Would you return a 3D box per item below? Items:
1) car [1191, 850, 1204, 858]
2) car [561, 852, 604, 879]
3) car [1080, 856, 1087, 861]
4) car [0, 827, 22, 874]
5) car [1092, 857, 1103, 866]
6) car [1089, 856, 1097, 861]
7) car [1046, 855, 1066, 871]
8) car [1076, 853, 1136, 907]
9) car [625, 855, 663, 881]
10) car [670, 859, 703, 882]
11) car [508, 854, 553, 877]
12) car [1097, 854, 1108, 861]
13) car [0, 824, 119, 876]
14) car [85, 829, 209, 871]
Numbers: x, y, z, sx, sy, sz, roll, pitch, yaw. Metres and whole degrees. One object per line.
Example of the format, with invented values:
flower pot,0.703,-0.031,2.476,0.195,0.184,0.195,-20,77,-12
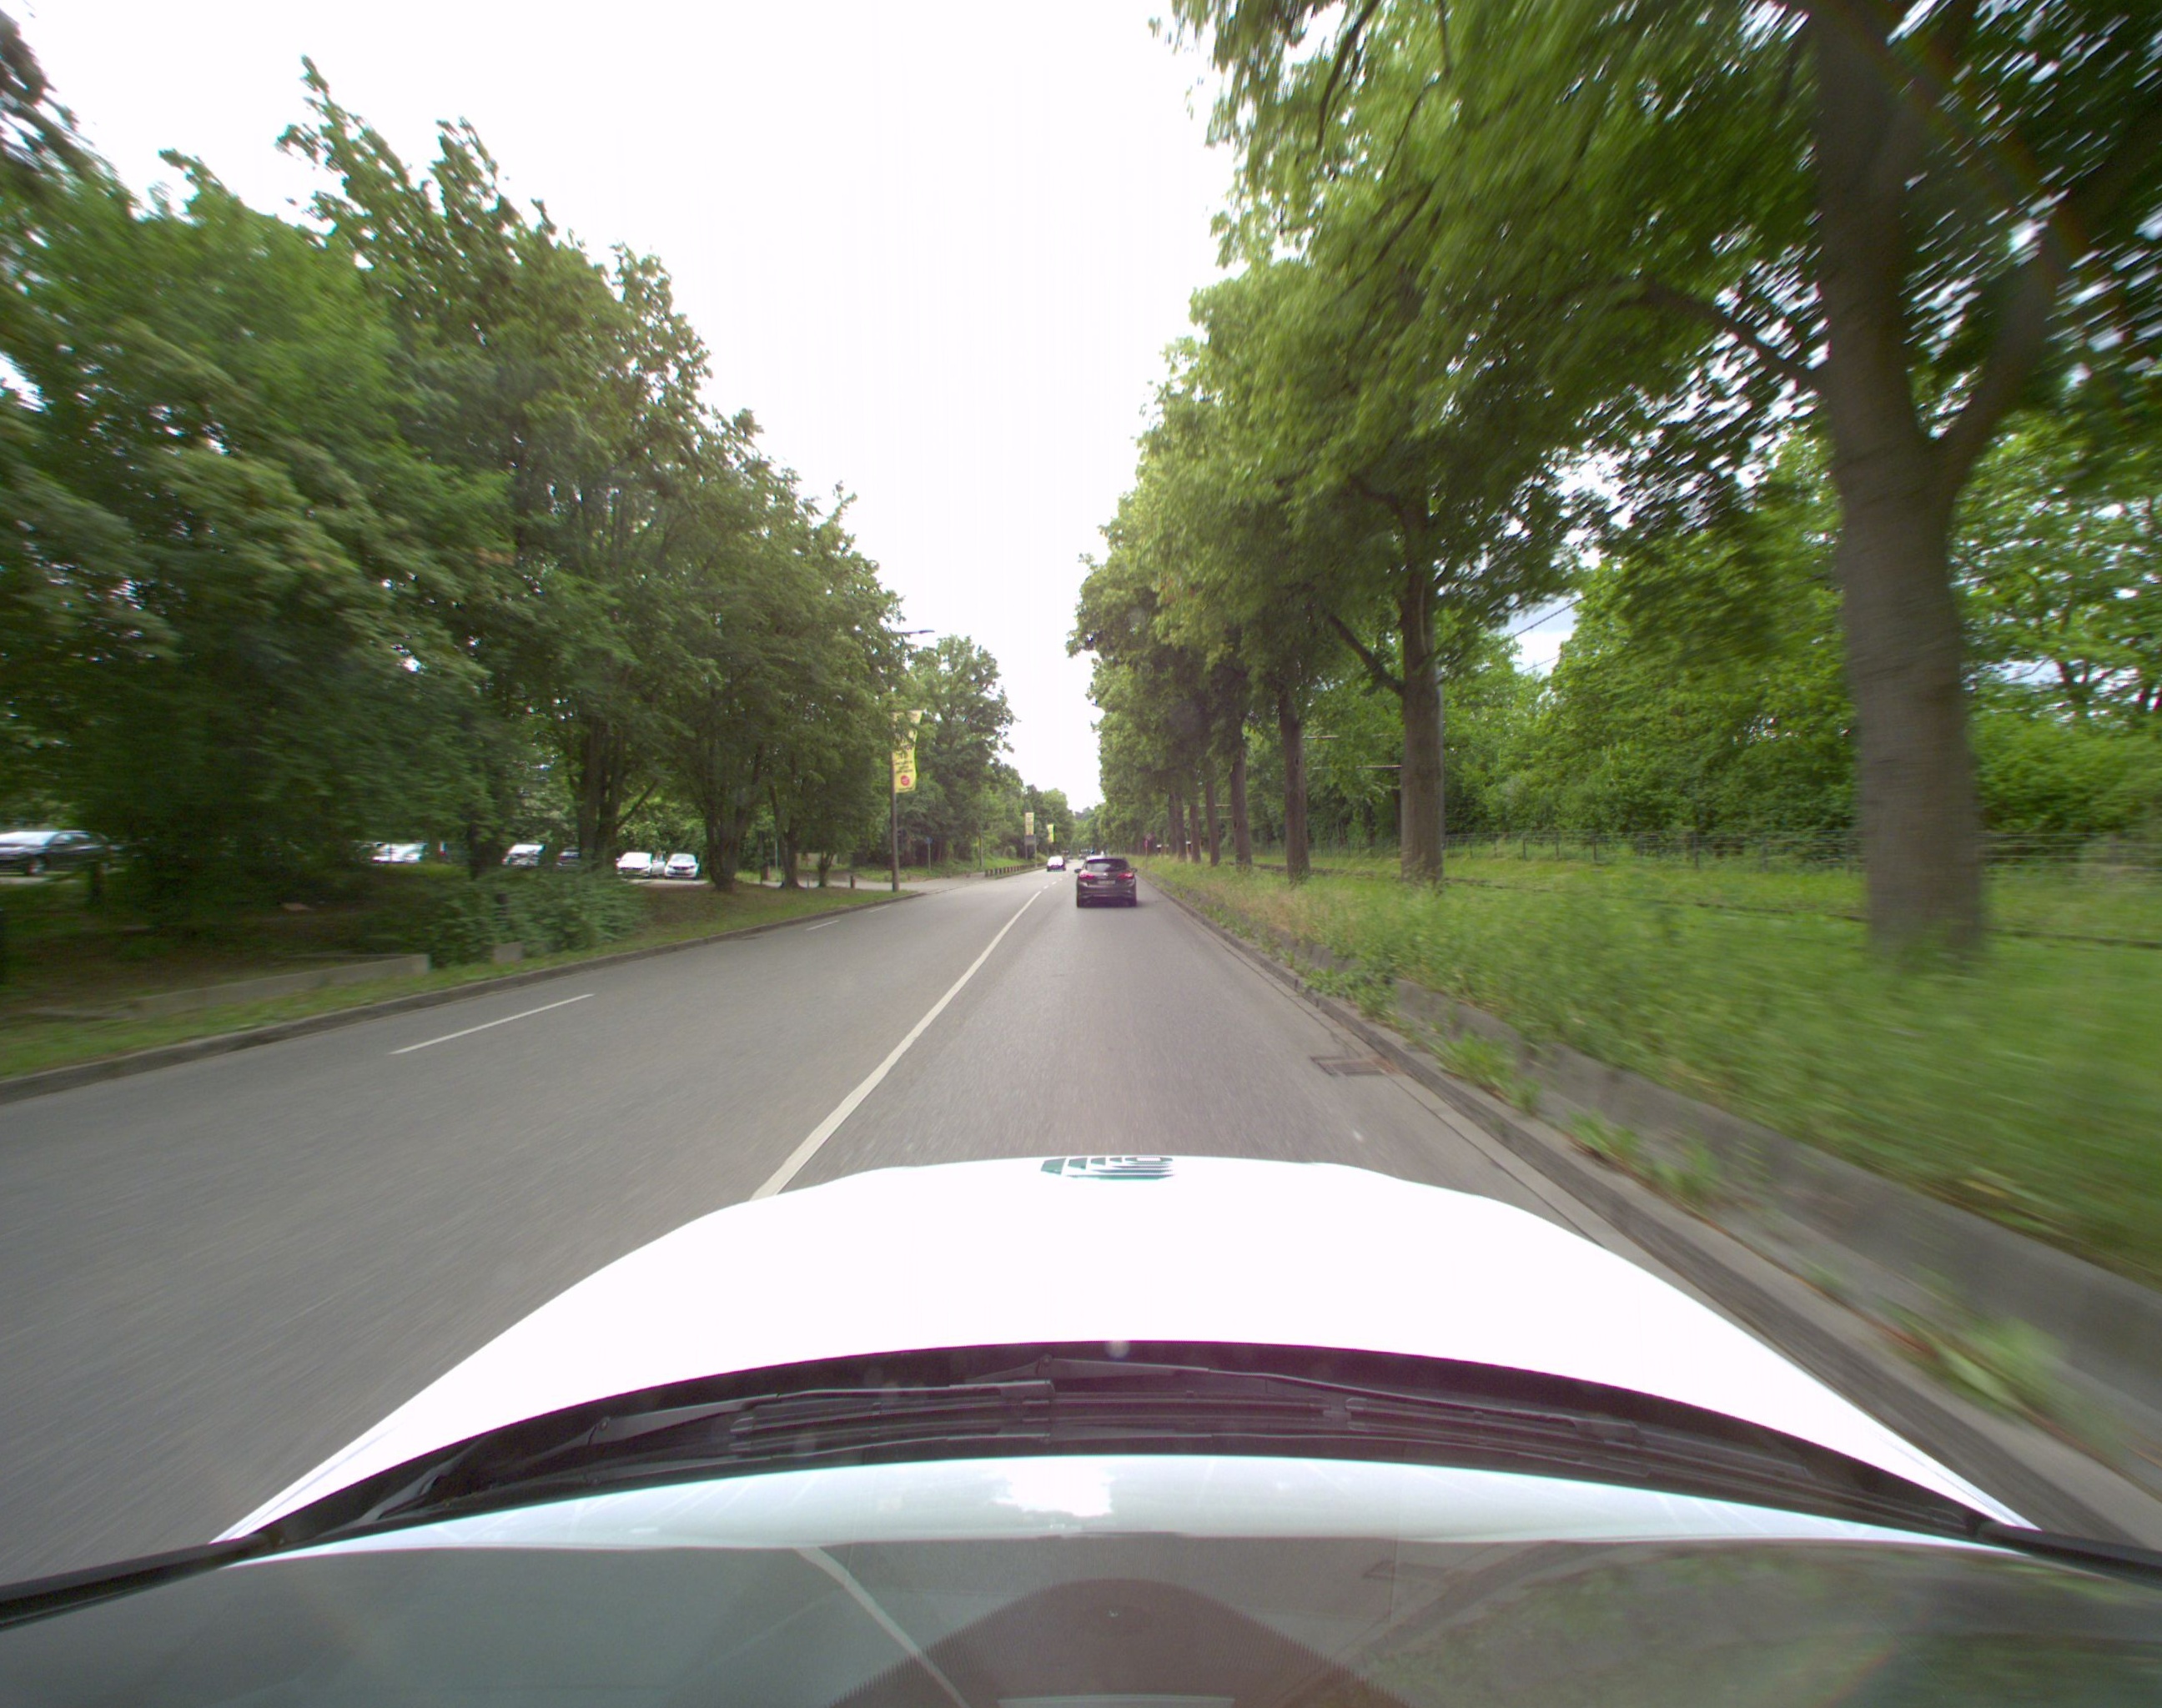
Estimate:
car,21.754,-0.068,152.261,1.561,1.441,3.540,0,0,-9
car,-27.205,0.619,44.483,1.375,1.402,3.050,1,-1,-20
car,0.695,1.256,241.538,1.562,1.441,3.538,0,0,-11
car,-34.557,-0.103,24.394,1.652,1.486,3.970,0,0,-22
car,2.730,1.215,132.863,1.554,1.441,3.555,0,0,4
car,3.103,1.164,211.457,1.560,1.441,3.541,0,0,-8
car,-2.452,0.866,80.130,1.710,1.428,4.198,-3,0,2
car,0.745,0.739,24.901,1.724,1.537,3.552,0,0,1
car,-24.528,0.765,45.780,1.375,1.402,3.050,1,-1,-20
car,-22.796,0.946,47.156,1.375,1.238,3.050,1,-1,-20
car,-29.413,0.605,43.580,1.267,1.212,3.050,1,-1,-20
car,4.657,0.709,173.985,1.563,1.441,3.536,0,0,-13
car,-32.495,-0.107,25.319,1.652,1.486,3.970,0,0,-22
car,-34.488,-0.123,30.193,1.540,1.415,3.357,1,-1,-20
